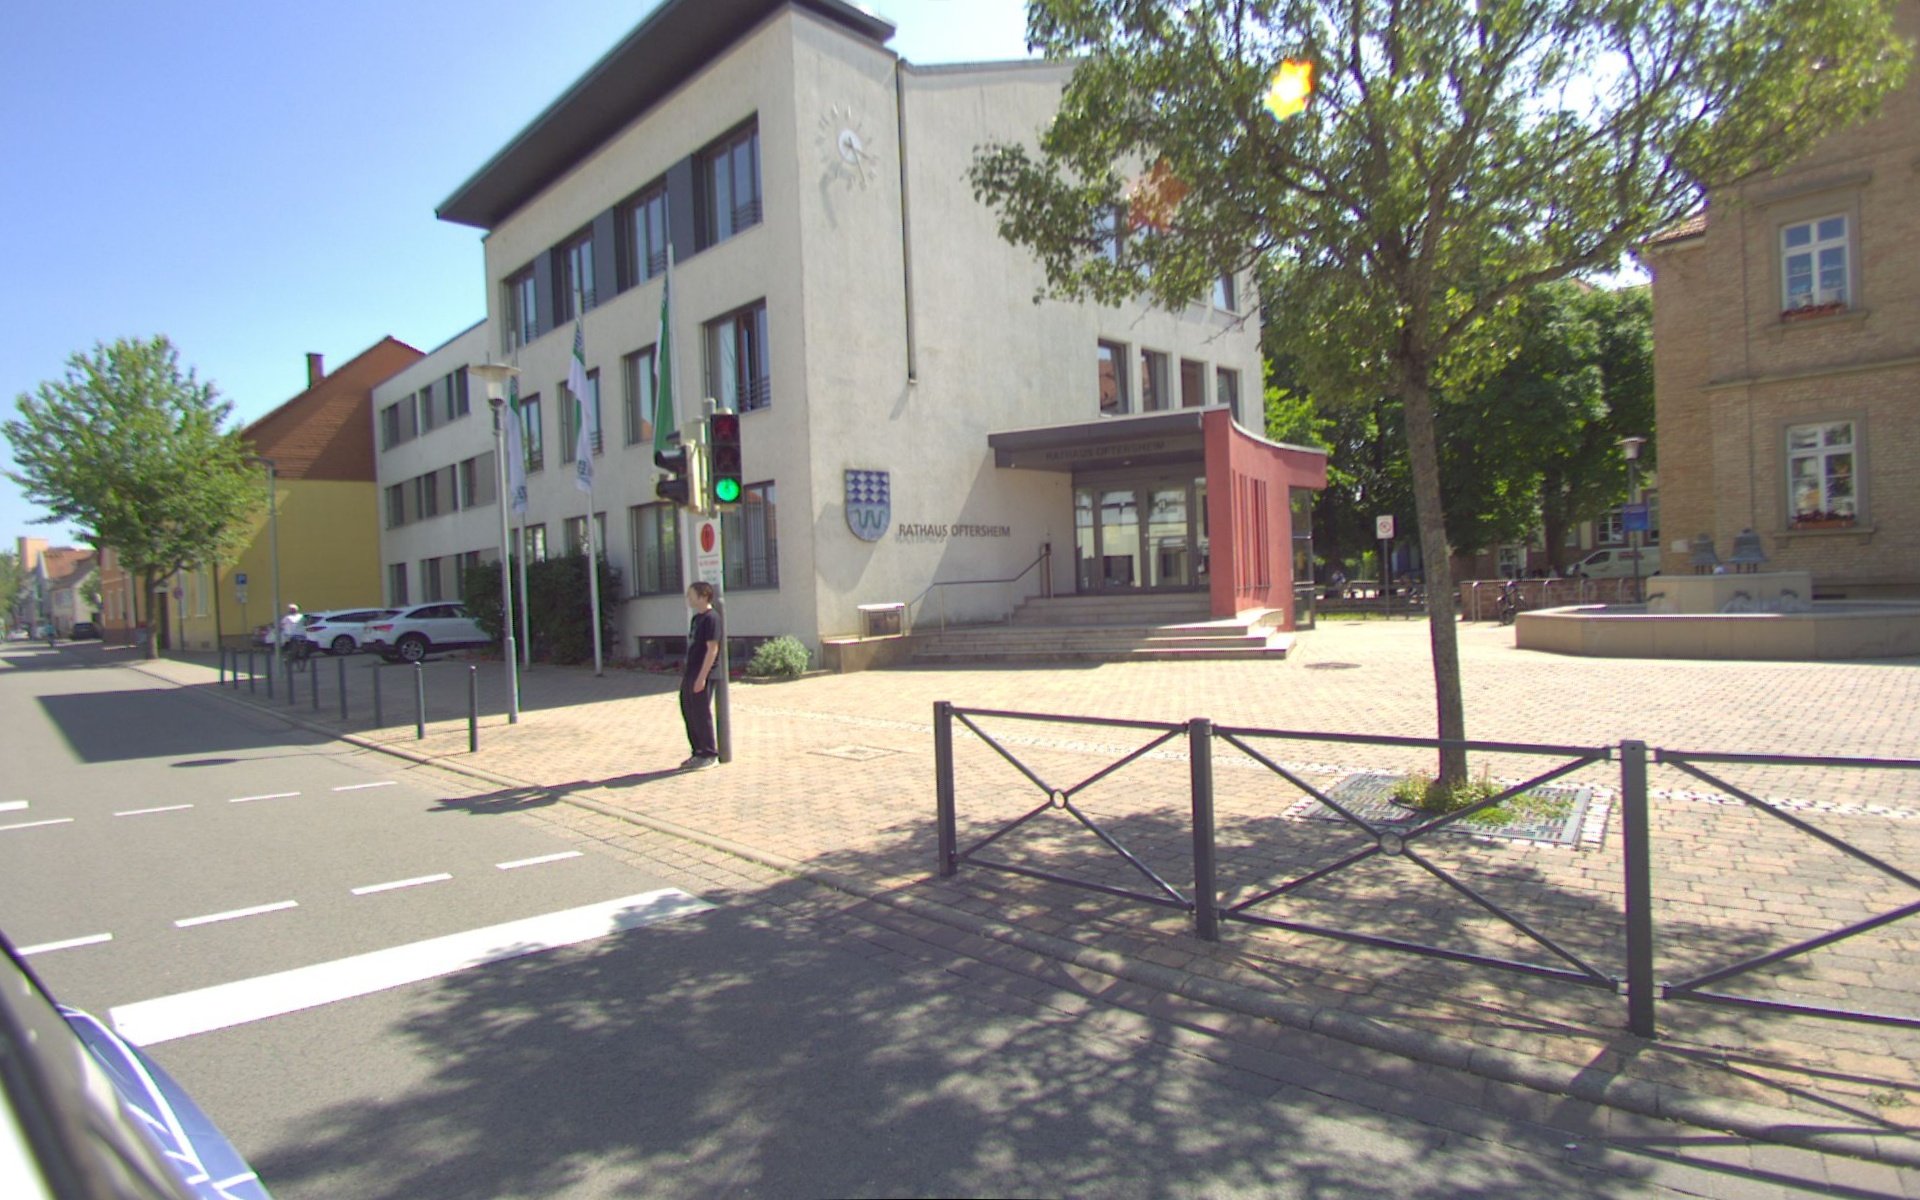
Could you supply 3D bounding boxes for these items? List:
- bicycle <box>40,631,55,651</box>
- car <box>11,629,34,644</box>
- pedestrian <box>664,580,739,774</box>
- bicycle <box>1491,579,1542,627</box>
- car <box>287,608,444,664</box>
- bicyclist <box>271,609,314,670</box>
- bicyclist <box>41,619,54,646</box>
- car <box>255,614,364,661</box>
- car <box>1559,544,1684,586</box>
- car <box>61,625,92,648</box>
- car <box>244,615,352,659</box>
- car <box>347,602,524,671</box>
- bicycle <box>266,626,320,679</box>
[{"bbox_3d":[-58.405,2.631,64.761,1.726,1.198,0.586,-2,1,45],"label":"bicycle"},{"bbox_3d":[-118.815,4.618,128.200,1.971,1.719,4.002,-2,0,-45],"label":"car"},{"bbox_3d":[-2.259,0.649,8.893,0.541,1.631,0.558,-2,1,-10],"label":"pedestrian"},{"bbox_3d":[13.712,0.062,24.906,0.581,1.013,1.926,-2,2,44],"label":"bicycle"},{"bbox_3d":[-19.984,1.154,34.132,4.264,1.489,1.515,-5,2,-44],"label":"car"},{"bbox_3d":[-17.177,1.004,26.047,0.871,1.518,0.706,-2,0,44],"label":"bicyclist"},{"bbox_3d":[-58.429,2.079,64.803,0.551,1.652,0.531,-2,0,45],"label":"bicyclist"},{"bbox_3d":[-24.035,1.344,37.437,3.095,1.461,1.644,-4,2,-43],"label":"car"},{"bbox_3d":[34.877,-1.811,53.436,5.276,1.952,1.973,-2,0,41],"label":"car"},{"bbox_3d":[-76.592,3.138,87.715,1.800,1.829,4.002,-2,0,-45],"label":"car"},{"bbox_3d":[-25.532,1.415,39.065,1.375,1.412,3.213,-2,2,44],"label":"car"},{"bbox_3d":[-14.433,0.962,27.994,1.749,1.559,3.943,-2,2,44],"label":"car"},{"bbox_3d":[-17.153,1.335,26.014,1.972,1.261,0.701,-2,0,44],"label":"bicycle"}]
